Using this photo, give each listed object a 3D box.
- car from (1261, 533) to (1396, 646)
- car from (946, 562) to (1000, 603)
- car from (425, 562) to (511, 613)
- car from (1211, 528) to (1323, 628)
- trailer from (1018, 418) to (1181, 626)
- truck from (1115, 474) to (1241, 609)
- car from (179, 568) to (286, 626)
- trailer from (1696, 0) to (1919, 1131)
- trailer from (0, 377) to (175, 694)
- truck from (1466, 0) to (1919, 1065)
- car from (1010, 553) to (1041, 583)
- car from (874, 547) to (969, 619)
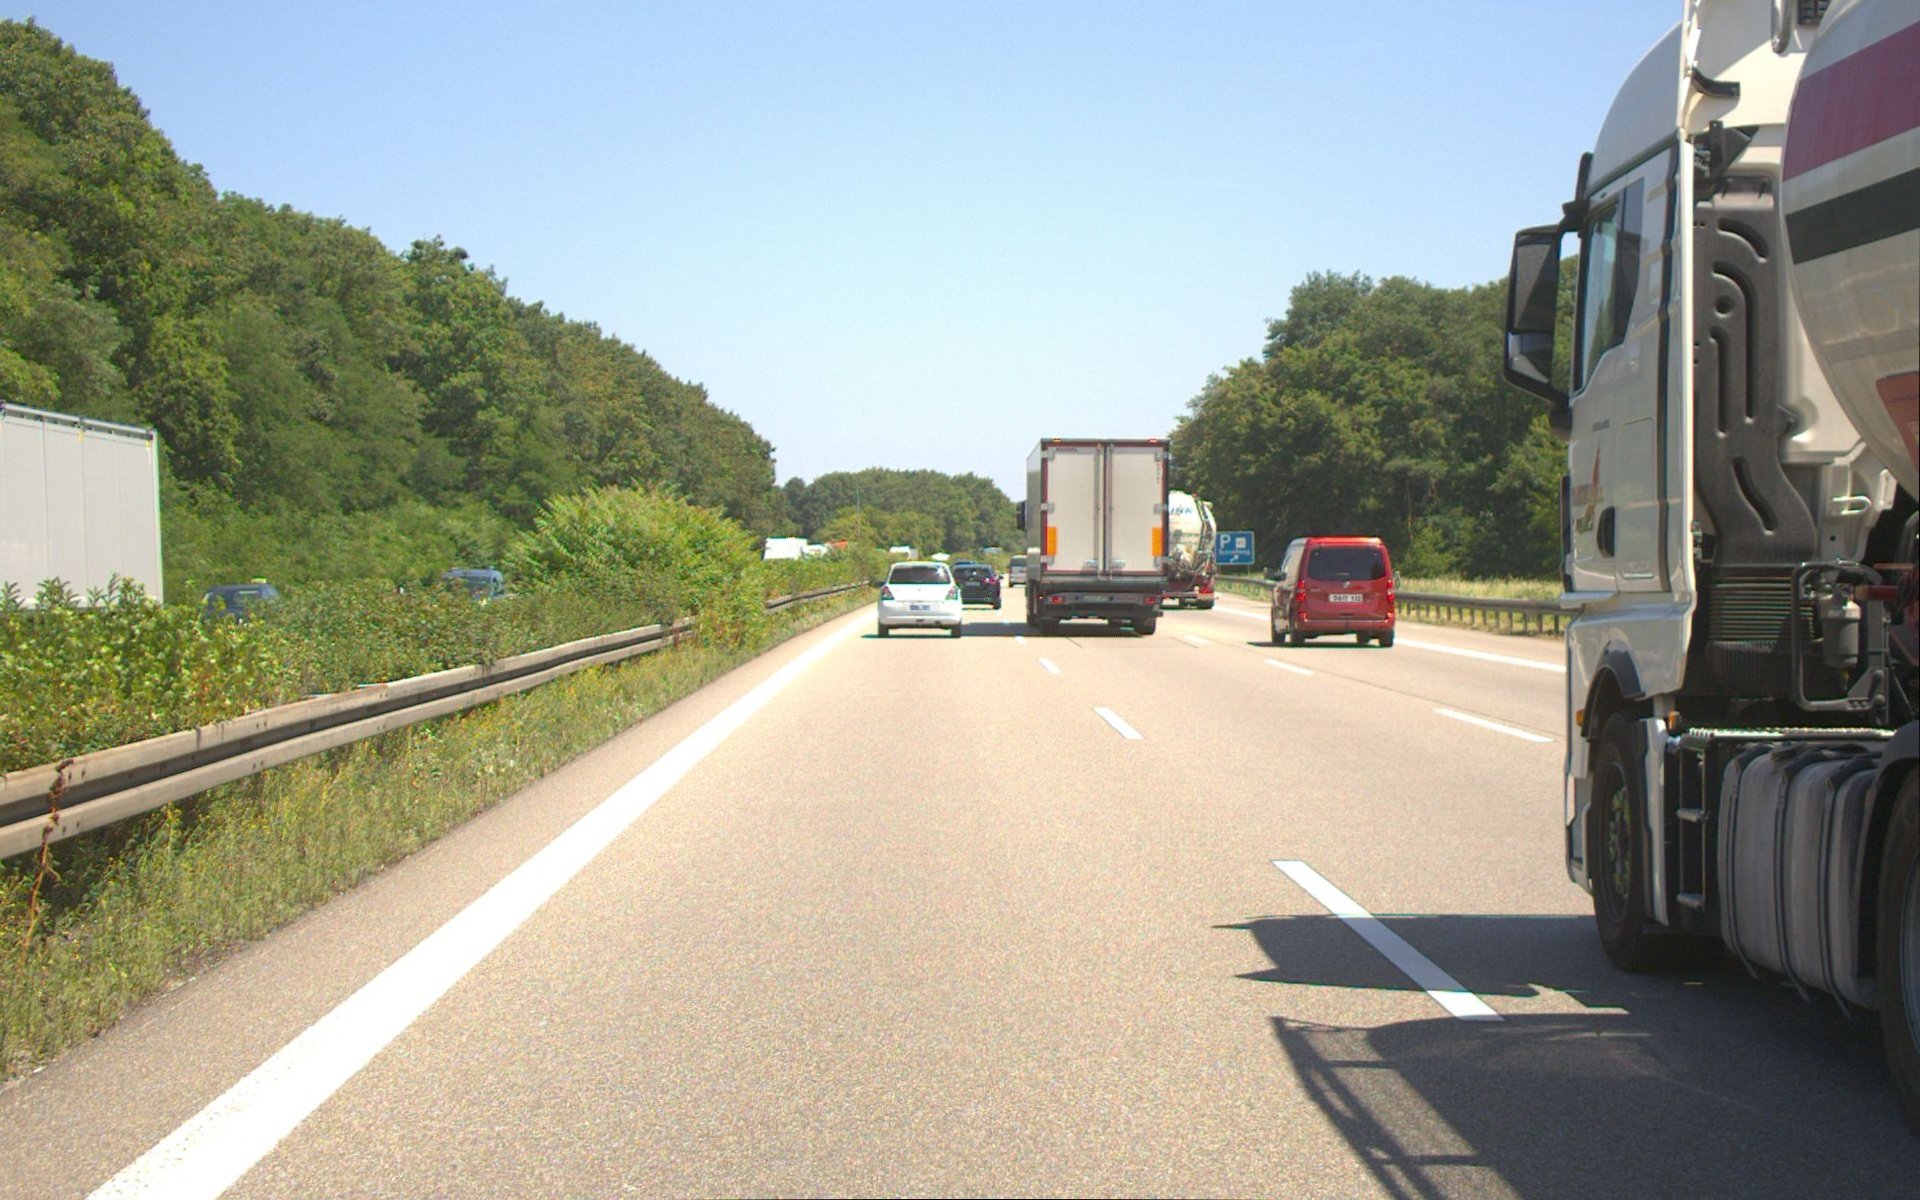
[{"bbox_3d":[6.818,-0.214,64.125,1.855,1.996,5.522,1,1,-1],"label":"car"},{"bbox_3d":[0.399,-0.583,110.925,1.668,1.285,4.000,0,1,-1],"label":"car"},{"bbox_3d":[-13.423,-0.355,93.979,1.794,1.334,4.000,0,1,-1],"label":"car"},{"bbox_3d":[6.330,-0.478,71.229,1.993,2.007,4.000,0,1,0],"label":"car"},{"bbox_3d":[2.900,-1.647,74.843,3.223,4.129,12.351,0,1,1],"label":"trailer"},{"bbox_3d":[7.258,-1.955,115.892,3.223,4.330,10.808,0,1,-2],"label":"truck"},{"bbox_3d":[-17.730,-0.090,83.926,1.794,1.334,4.000,0,1,-1],"label":"car"},{"bbox_3d":[3.908,-0.713,4.749,2.790,4.190,12.354,0,1,-2],"label":"trailer"},{"bbox_3d":[-13.546,-0.852,46.443,2.870,3.996,13.518,0,1,-1],"label":"trailer"},{"bbox_3d":[3.657,-0.812,12.346,2.790,4.190,5.000,0,1,-2],"label":"truck"},{"bbox_3d":[3.871,-1.909,203.381,1.668,1.759,4.000,0,1,-1],"label":"car"},{"bbox_3d":[-0.805,-0.366,69.428,1.811,1.400,3.318,0,1,-2],"label":"car"}]
